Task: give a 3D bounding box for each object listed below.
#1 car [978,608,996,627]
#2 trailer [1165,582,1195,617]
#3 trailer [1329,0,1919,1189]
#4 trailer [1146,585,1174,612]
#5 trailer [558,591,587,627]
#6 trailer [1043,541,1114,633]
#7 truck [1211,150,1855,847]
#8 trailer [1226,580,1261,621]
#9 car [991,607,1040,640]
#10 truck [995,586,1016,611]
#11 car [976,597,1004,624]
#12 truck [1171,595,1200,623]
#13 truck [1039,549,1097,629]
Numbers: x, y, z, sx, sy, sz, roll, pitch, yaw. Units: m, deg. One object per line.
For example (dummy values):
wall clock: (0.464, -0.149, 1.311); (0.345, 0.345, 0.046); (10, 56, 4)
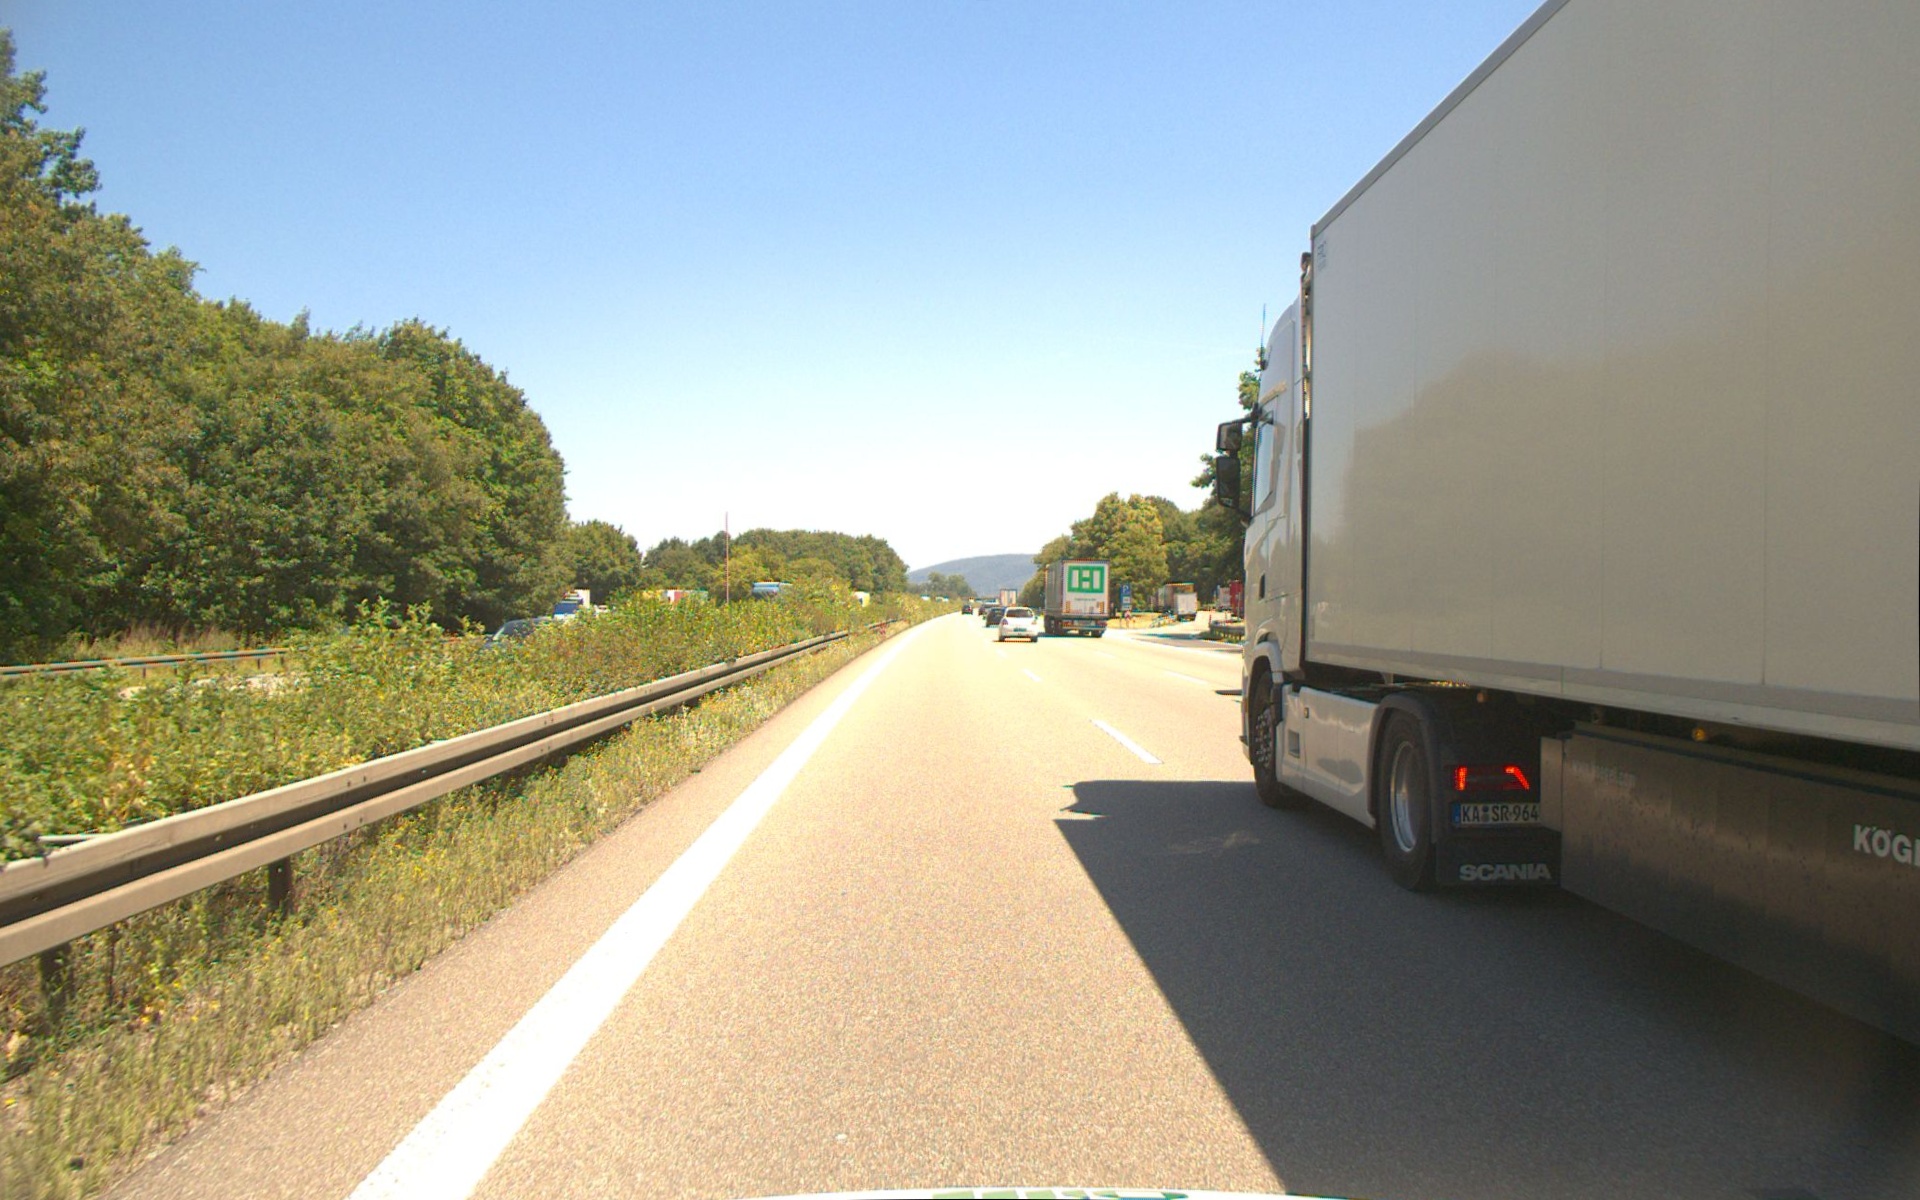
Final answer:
car: (3.107, 1.994, 189.668); (1.844, 2.049, 3.999); (0, 0, -1)
trailer: (26.222, -0.067, 196.797); (3.116, 4.004, 11.560); (0, 0, 9)
trailer: (4.021, -0.611, 4.235); (3.158, 4.216, 12.348); (0, 0, -1)
trailer: (30.660, -0.237, 254.122); (3.070, 4.022, 14.199); (-1, 0, 2)
trailer: (-45.448, 1.023, 194.449); (2.562, 4.041, 12.574); (0, 0, -10)
trailer: (6.406, -0.647, 91.278); (3.116, 4.708, 12.050); (0, 0, 0)
truck: (3.848, -0.620, 12.361); (3.163, 4.230, 4.558); (0, 0, -1)
trailer: (28.620, 0.076, 166.637); (2.915, 3.946, 12.899); (0, 0, 12)
car: (2.470, 1.025, 74.002); (1.776, 1.429, 3.313); (0, 0, -6)
truck: (7.182, -0.253, 263.006); (3.256, 3.822, 12.797); (1, 0, 1)
car: (2.211, 0.746, 120.367); (1.857, 1.926, 4.002); (-1, 0, 4)
truck: (24.366, 0.998, 178.906); (2.416, 2.997, 7.662); (0, 0, 3)
truck: (6.501, -0.606, 100.093); (3.117, 4.688, 5.947); (0, 0, 0)
